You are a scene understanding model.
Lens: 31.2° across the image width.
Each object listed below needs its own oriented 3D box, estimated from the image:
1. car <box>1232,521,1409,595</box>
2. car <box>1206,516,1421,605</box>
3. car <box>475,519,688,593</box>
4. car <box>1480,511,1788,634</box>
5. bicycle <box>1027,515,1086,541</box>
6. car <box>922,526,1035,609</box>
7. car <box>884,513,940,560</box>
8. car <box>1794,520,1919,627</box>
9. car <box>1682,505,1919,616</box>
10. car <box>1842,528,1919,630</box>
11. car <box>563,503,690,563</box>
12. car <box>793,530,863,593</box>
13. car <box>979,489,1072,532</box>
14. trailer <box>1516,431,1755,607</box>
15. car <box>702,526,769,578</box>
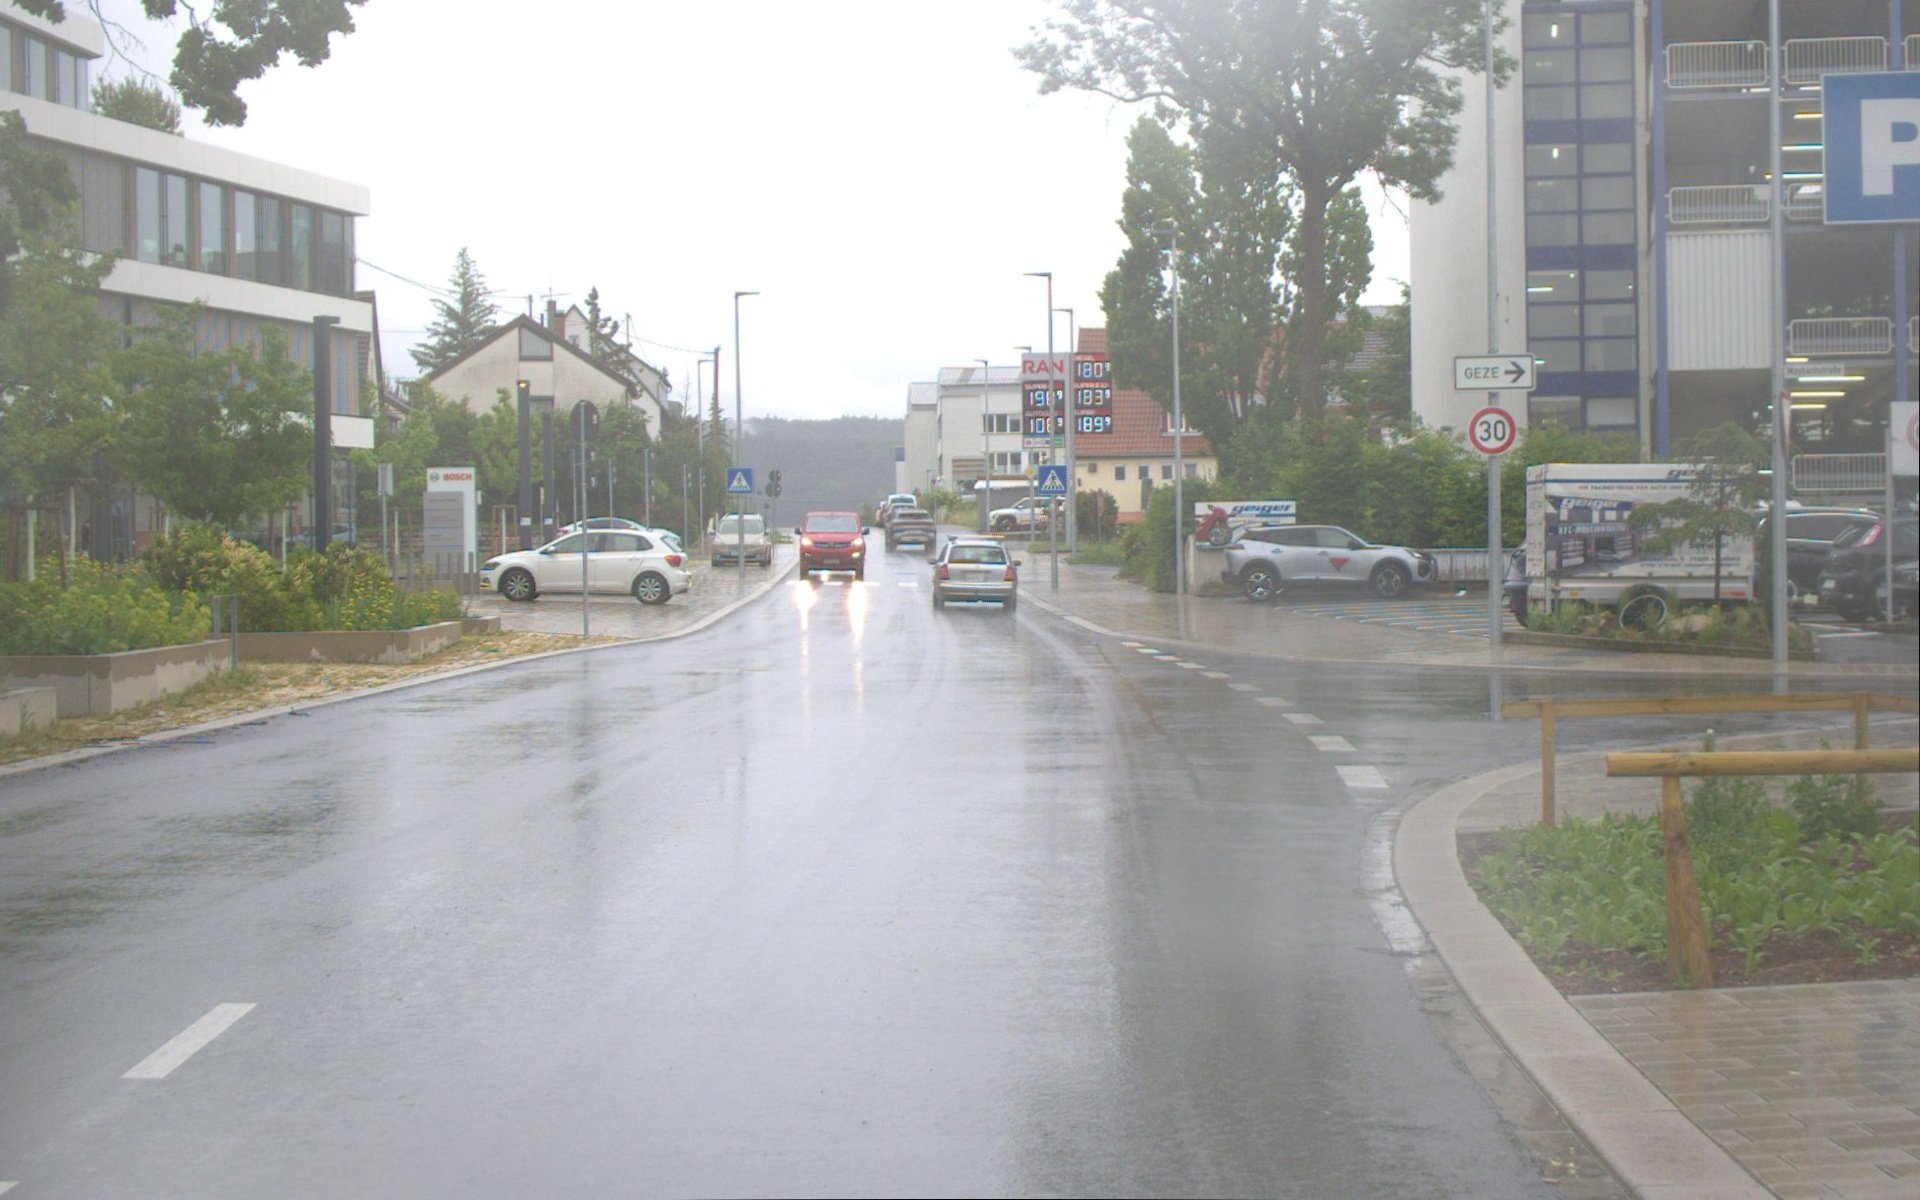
[{"bbox_3d":[7.609,-0.891,72.336,3.622,1.489,1.806,-1,1,8],"label":"car"},{"bbox_3d":[7.180,-0.808,69.637,4.208,1.644,1.999,-2,1,9],"label":"car"},{"bbox_3d":[-7.283,-0.862,66.460,3.927,1.418,1.898,0,1,0],"label":"car"},{"bbox_3d":[8.942,-0.366,45.792,3.725,1.523,1.650,-1,0,-1],"label":"car"},{"bbox_3d":[4.342,-3.239,154.744,0.668,1.063,3.629,4,-1,-33],"label":"bicycle"},{"bbox_3d":[0.347,-0.655,71.010,1.948,1.550,4.000,4,0,-4],"label":"car"},{"bbox_3d":[-1.981,-2.596,140.911,2.154,1.700,4.000,3,0,-2],"label":"car"},{"bbox_3d":[13.680,-0.387,47.741,3.725,1.444,1.731,0,1,-4],"label":"car"},{"bbox_3d":[13.487,-0.621,52.826,4.354,1.646,1.845,0,1,-3],"label":"car"},{"bbox_3d":[13.745,-0.294,45.359,3.725,1.311,1.693,0,1,-4],"label":"car"},{"bbox_3d":[-12.997,-2.589,133.685,4.752,2.007,2.000,4,0,-7],"label":"car"},{"bbox_3d":[-3.912,-1.172,101.892,2.003,1.811,4.980,0,1,-2],"label":"car"},{"bbox_3d":[3.075,-4.209,161.247,4.112,1.700,1.789,4,0,-4],"label":"car"},{"bbox_3d":[8.462,-1.014,43.199,2.702,2.164,1.548,0,1,1],"label":"trailer"},{"bbox_3d":[-7.247,-1.571,111.499,1.993,1.623,4.154,0,2,-2],"label":"car"}]
